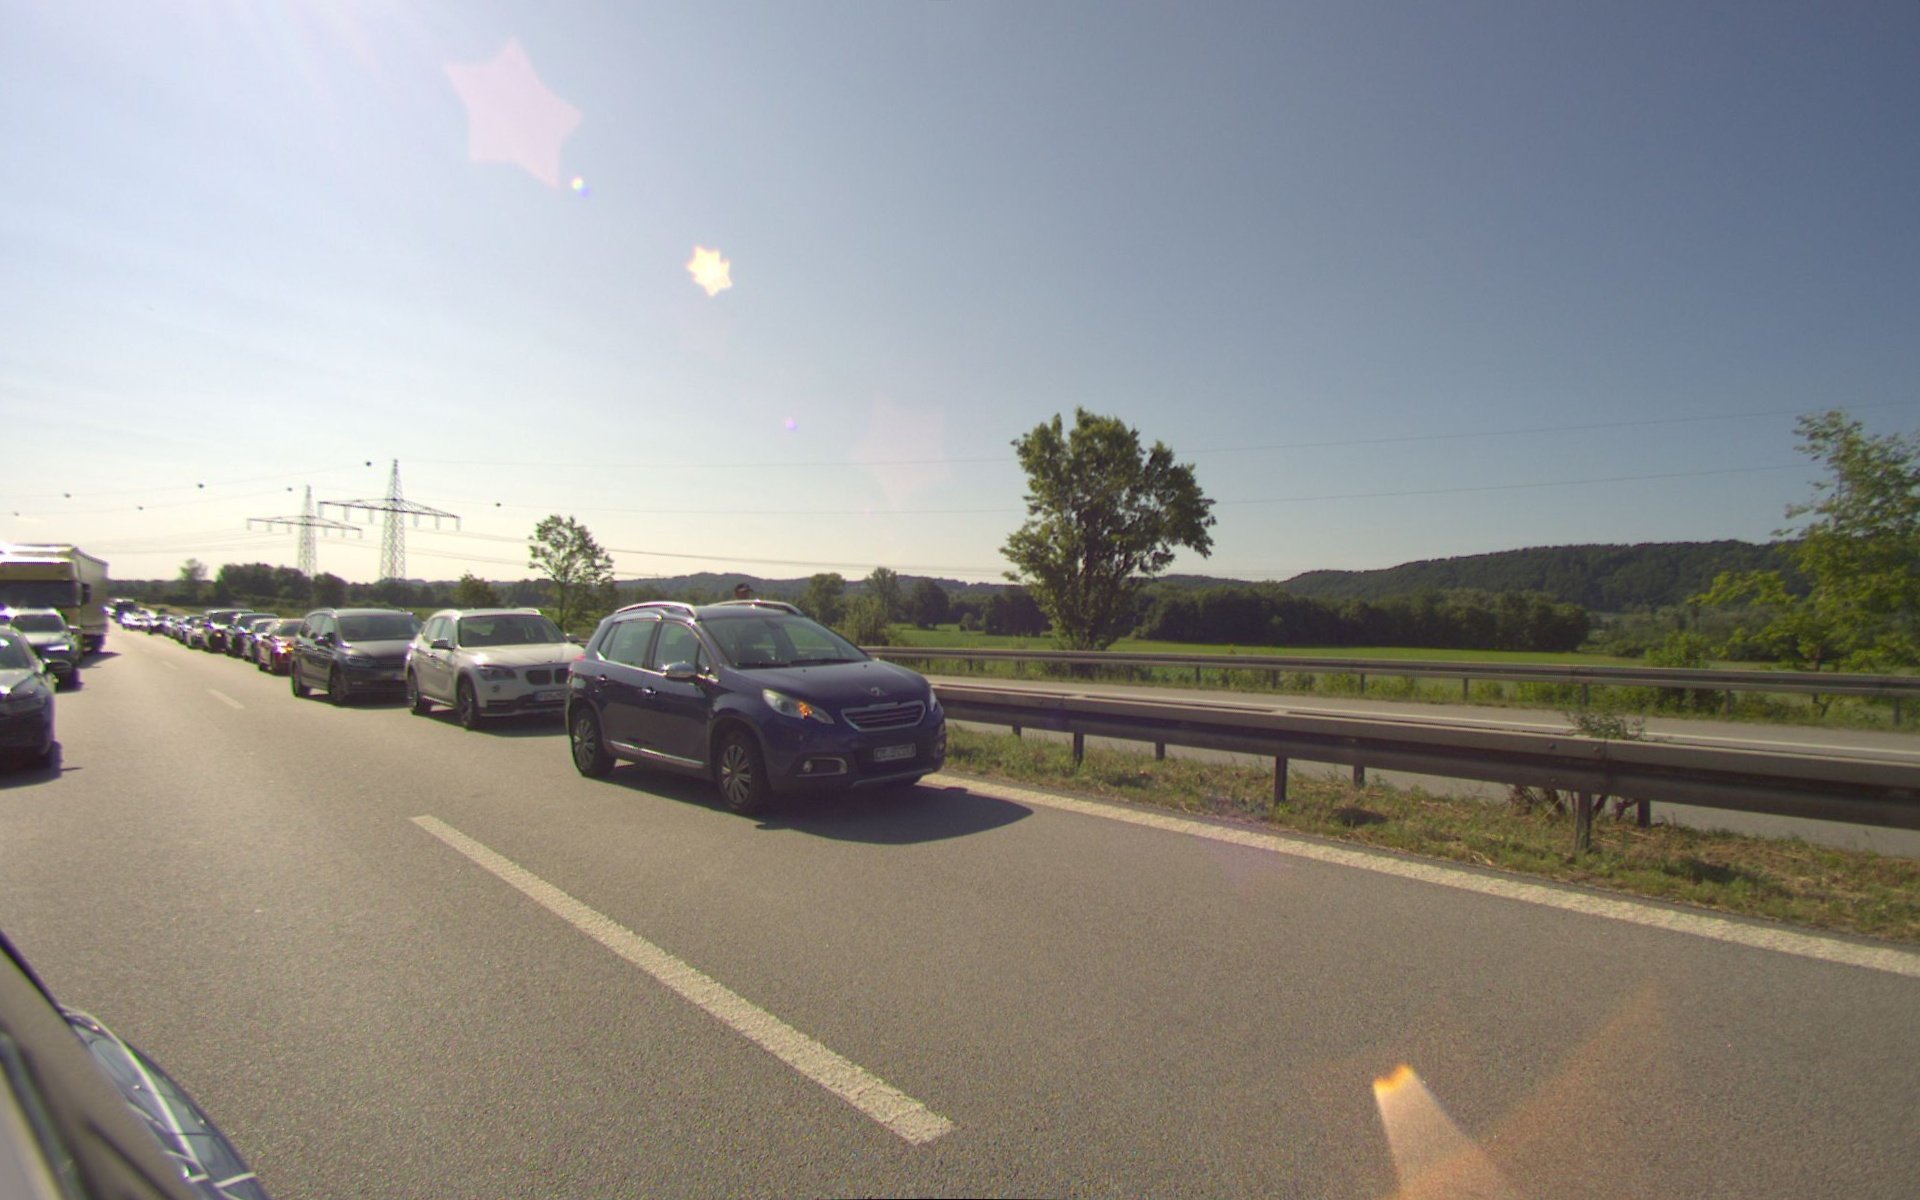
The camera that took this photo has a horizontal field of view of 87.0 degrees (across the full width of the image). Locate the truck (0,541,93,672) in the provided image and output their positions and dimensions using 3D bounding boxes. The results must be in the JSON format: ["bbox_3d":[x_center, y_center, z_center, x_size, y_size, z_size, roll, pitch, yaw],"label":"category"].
[{"bbox_3d":[-32.287,0.247,34.995,3.283,4.144,6.982,-1,0,-39],"label":"truck"}]

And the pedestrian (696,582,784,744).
[{"bbox_3d":[-2.517,0.697,11.550,0.662,1.764,0.815,2,-2,-41],"label":"pedestrian"}]

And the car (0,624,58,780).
[{"bbox_3d":[-10.635,0.982,10.594,1.691,1.424,4.332,-1,-1,-41],"label":"car"}]

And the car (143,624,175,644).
[{"bbox_3d":[-63.127,2.656,79.752,1.792,1.470,4.124,1,-2,-40],"label":"car"}]

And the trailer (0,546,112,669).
[{"bbox_3d":[-35.995,0.303,39.868,3.335,4.144,13.982,-1,0,-37],"label":"trailer"}]

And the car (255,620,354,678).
[{"bbox_3d":[-17.935,1.288,27.607,1.792,1.470,4.124,1,-2,-40],"label":"car"}]

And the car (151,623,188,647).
[{"bbox_3d":[-51.976,2.305,66.509,1.792,1.470,4.124,-1,0,-40],"label":"car"}]

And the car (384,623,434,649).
[{"bbox_3d":[-32.283,2.079,59.210,1.691,1.436,4.413,-1,-1,-41],"label":"car"}]

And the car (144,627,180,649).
[{"bbox_3d":[-56.360,2.651,71.434,1.793,1.470,4.123,1,-2,-41],"label":"car"}]

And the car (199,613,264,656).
[{"bbox_3d":[-31.873,1.501,44.242,1.874,1.801,4.205,1,-2,-42],"label":"car"}]

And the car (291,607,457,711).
[{"bbox_3d":[-10.653,0.977,18.266,1.793,1.628,4.123,0,-1,-42],"label":"car"}]

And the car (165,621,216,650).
[{"bbox_3d":[-42.947,1.951,56.451,1.969,1.542,4.005,1,-2,-42],"label":"car"}]

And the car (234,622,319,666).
[{"bbox_3d":[-23.322,1.460,34.475,1.867,1.409,4.005,1,-2,-42],"label":"car"}]

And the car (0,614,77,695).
[{"bbox_3d":[-20.831,1.155,22.560,1.691,1.636,4.332,-1,-1,-41],"label":"car"}]

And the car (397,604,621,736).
[{"bbox_3d":[-6.500,0.888,14.353,1.805,1.586,4.170,0,-1,-40],"label":"car"}]

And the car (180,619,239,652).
[{"bbox_3d":[-36.747,1.695,49.516,1.969,1.542,4.005,1,-2,-42],"label":"car"}]

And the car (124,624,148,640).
[{"bbox_3d":[-82.401,3.168,101.202,1.792,1.470,4.124,-1,0,-40],"label":"car"}]

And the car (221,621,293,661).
[{"bbox_3d":[-27.244,1.542,39.148,1.866,1.466,4.006,1,-2,-41],"label":"car"}]

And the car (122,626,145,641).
[{"bbox_3d":[-86.103,3.455,105.467,1.792,1.470,4.124,1,-2,-40],"label":"car"}]

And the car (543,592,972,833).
[{"bbox_3d":[-1.892,0.758,8.576,1.668,1.546,3.951,-1,0,-44],"label":"car"}]

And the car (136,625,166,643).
[{"bbox_3d":[-68.789,2.881,86.005,1.793,1.470,4.123,-1,0,-41],"label":"car"}]
